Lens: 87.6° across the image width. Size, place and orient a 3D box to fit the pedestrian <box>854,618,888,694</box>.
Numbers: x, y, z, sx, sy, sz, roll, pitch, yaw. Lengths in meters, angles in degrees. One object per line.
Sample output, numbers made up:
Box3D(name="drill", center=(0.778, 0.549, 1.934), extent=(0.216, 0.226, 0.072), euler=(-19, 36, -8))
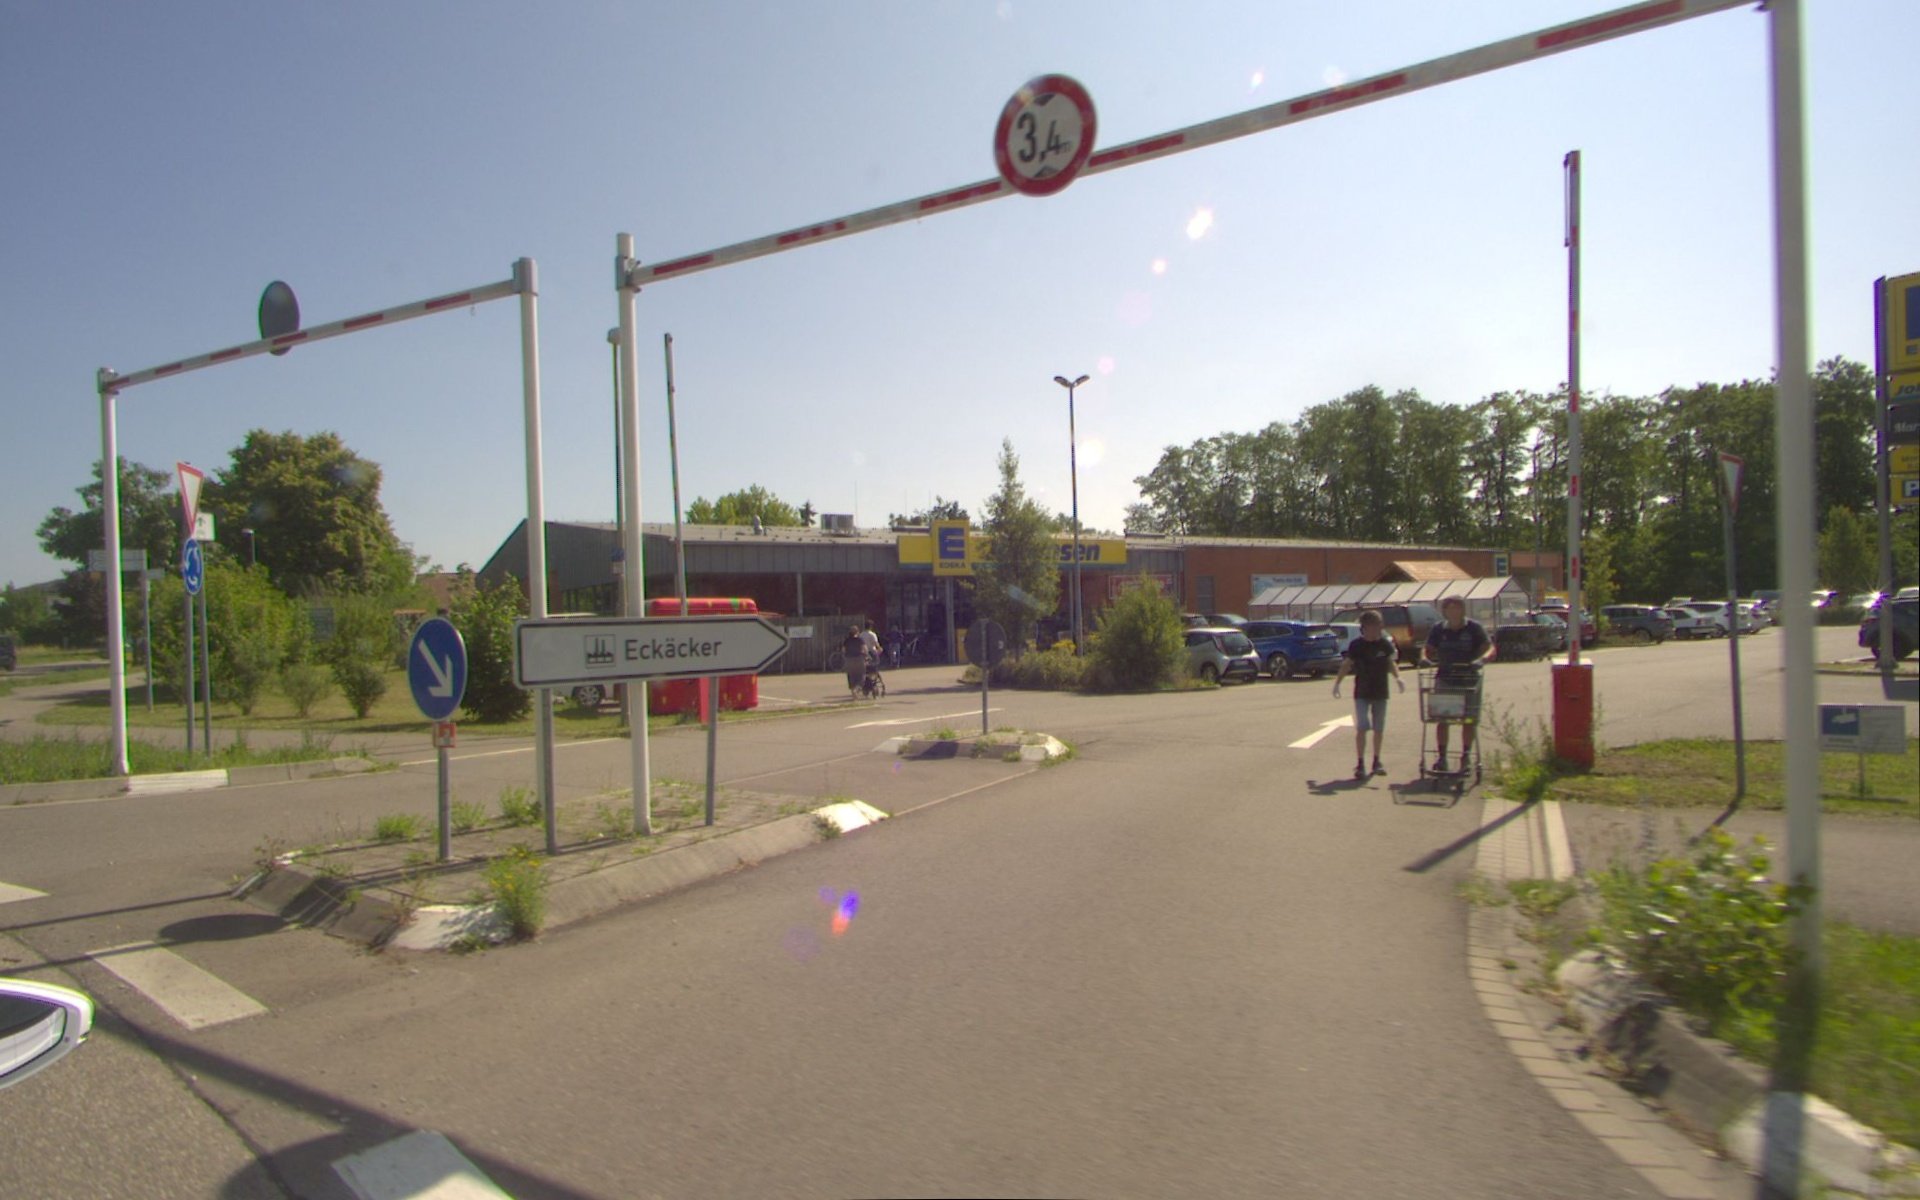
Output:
Box3D(name="pedestrian", center=(-2.264, 1.424, 25.584), extent=(0.824, 1.895, 0.774), euler=(-1, 0, -3))

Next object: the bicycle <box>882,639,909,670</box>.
Box3D(name="bicycle", center=(-2.344, 1.965, 36.353), extent=(0.543, 1.055, 2.073), euler=(-1, -1, -15))

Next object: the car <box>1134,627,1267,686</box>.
Box3D(name="car", center=(6.487, 1.497, 27.354), extent=(1.689, 1.476, 3.479), euler=(0, -1, -26))

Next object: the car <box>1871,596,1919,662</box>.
Box3D(name="car", center=(24.897, 0.680, 24.335), extent=(1.644, 1.609, 3.964), euler=(0, -1, -42))

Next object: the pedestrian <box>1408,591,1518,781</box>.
Box3D(name="pedestrian", center=(5.007, 0.831, 10.036), extent=(0.865, 1.808, 0.841), euler=(-1, 0, 20))

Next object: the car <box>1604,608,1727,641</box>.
Box3D(name="car", center=(31.085, 1.070, 44.252), extent=(1.970, 1.372, 3.982), euler=(-1, -1, -28))

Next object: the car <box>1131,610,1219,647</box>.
Box3D(name="car", center=(10.625, 1.411, 49.744), extent=(1.976, 1.706, 3.971), euler=(-1, -1, -37))

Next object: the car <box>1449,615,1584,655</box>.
Box3D(name="car", center=(20.673, 1.292, 37.328), extent=(1.974, 1.394, 3.974), euler=(0, -2, -35))

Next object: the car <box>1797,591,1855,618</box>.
Box3D(name="car", center=(58.365, 0.275, 67.468), extent=(3.946, 1.733, 1.931), euler=(-1, 0, -33))

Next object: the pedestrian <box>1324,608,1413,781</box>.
Box3D(name="pedestrian", center=(4.058, 0.921, 9.983), extent=(0.690, 1.669, 0.596), euler=(-1, 0, 11))

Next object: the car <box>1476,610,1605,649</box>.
Box3D(name="car", center=(22.482, 1.152, 38.917), extent=(1.693, 1.416, 3.976), euler=(0, -1, -34))

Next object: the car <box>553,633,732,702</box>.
Box3D(name="car", center=(-7.393, 1.521, 23.390), extent=(3.718, 1.464, 1.717), euler=(1, -1, -31))

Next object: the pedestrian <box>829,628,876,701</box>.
Box3D(name="pedestrian", center=(-2.475, 1.471, 23.132), extent=(0.800, 1.640, 0.925), euler=(-1, -1, 15))

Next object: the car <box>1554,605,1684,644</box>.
Box3D(name="car", center=(26.772, 0.992, 40.783), extent=(1.943, 1.505, 3.974), euler=(0, -1, -35))

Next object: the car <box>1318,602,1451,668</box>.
Box3D(name="car", center=(13.241, 1.085, 31.417), extent=(1.849, 1.953, 3.479), euler=(0, -1, -26))

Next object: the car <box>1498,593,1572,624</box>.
Box3D(name="car", center=(39.782, 0.588, 69.393), extent=(1.971, 2.039, 3.980), euler=(0, -1, -30))

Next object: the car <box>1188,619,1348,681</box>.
Box3D(name="car", center=(8.652, 1.386, 28.495), extent=(1.691, 1.591, 4.408), euler=(0, -1, -29))

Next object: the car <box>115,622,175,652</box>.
Box3D(name="car", center=(-52.966, 2.394, 65.165), extent=(1.970, 1.839, 5.179), euler=(-1, -1, -27))

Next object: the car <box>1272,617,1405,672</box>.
Box3D(name="car", center=(11.193, 1.306, 29.826), extent=(1.689, 1.517, 3.479), euler=(0, -1, -26))

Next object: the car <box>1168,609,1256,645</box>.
Box3D(name="car", center=(12.698, 1.371, 50.662), extent=(1.976, 1.706, 3.971), euler=(-1, -1, -37))

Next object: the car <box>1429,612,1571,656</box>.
Box3D(name="car", center=(18.951, 1.194, 35.300), extent=(1.956, 1.438, 3.977), euler=(0, -2, -33))

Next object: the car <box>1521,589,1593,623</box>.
Box3D(name="car", center=(42.829, 0.453, 71.954), extent=(1.971, 2.275, 4.004), euler=(0, -1, -30))

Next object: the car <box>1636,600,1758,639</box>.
Box3D(name="car", center=(33.241, 0.897, 45.265), extent=(1.970, 1.683, 3.983), euler=(0, -1, -27))

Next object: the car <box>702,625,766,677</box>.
Box3D(name="car", center=(-7.547, 1.675, 33.466), extent=(1.804, 1.656, 1.124), euler=(0, -1, -33))

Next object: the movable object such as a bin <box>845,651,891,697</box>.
Box3D(name="movable object such as a bin", center=(-2.201, 1.771, 24.077), extent=(0.755, 1.060, 1.039), euler=(-1, -1, 16))

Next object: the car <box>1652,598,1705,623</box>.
Box3D(name="car", center=(53.790, 0.784, 74.968), extent=(3.946, 1.824, 1.931), euler=(-1, 0, -33))

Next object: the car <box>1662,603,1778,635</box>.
Box3D(name="car", center=(36.076, 0.910, 47.659), extent=(1.863, 1.416, 3.982), euler=(-1, -1, -29))

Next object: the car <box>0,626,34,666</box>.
Box3D(name="car", center=(-42.422, 2.045, 43.275), extent=(1.785, 1.662, 4.644), euler=(-5, 0, -21))

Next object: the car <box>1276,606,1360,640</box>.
Box3D(name="car", center=(20.015, 1.298, 56.108), extent=(1.976, 1.839, 3.971), euler=(0, -1, -37))

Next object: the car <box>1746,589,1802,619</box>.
Box3D(name="car", center=(56.853, 0.300, 69.916), extent=(3.946, 2.000, 1.931), euler=(-1, 0, -33))

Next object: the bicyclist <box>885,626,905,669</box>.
Box3D(name="bicyclist", center=(-2.374, 1.718, 36.425), extent=(0.596, 1.535, 0.676), euler=(-1, 0, -16))

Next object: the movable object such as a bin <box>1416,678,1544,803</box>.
Box3D(name="movable object such as a bin", center=(4.666, 1.228, 9.069), extent=(0.865, 0.967, 1.201), euler=(-1, -1, 20))
